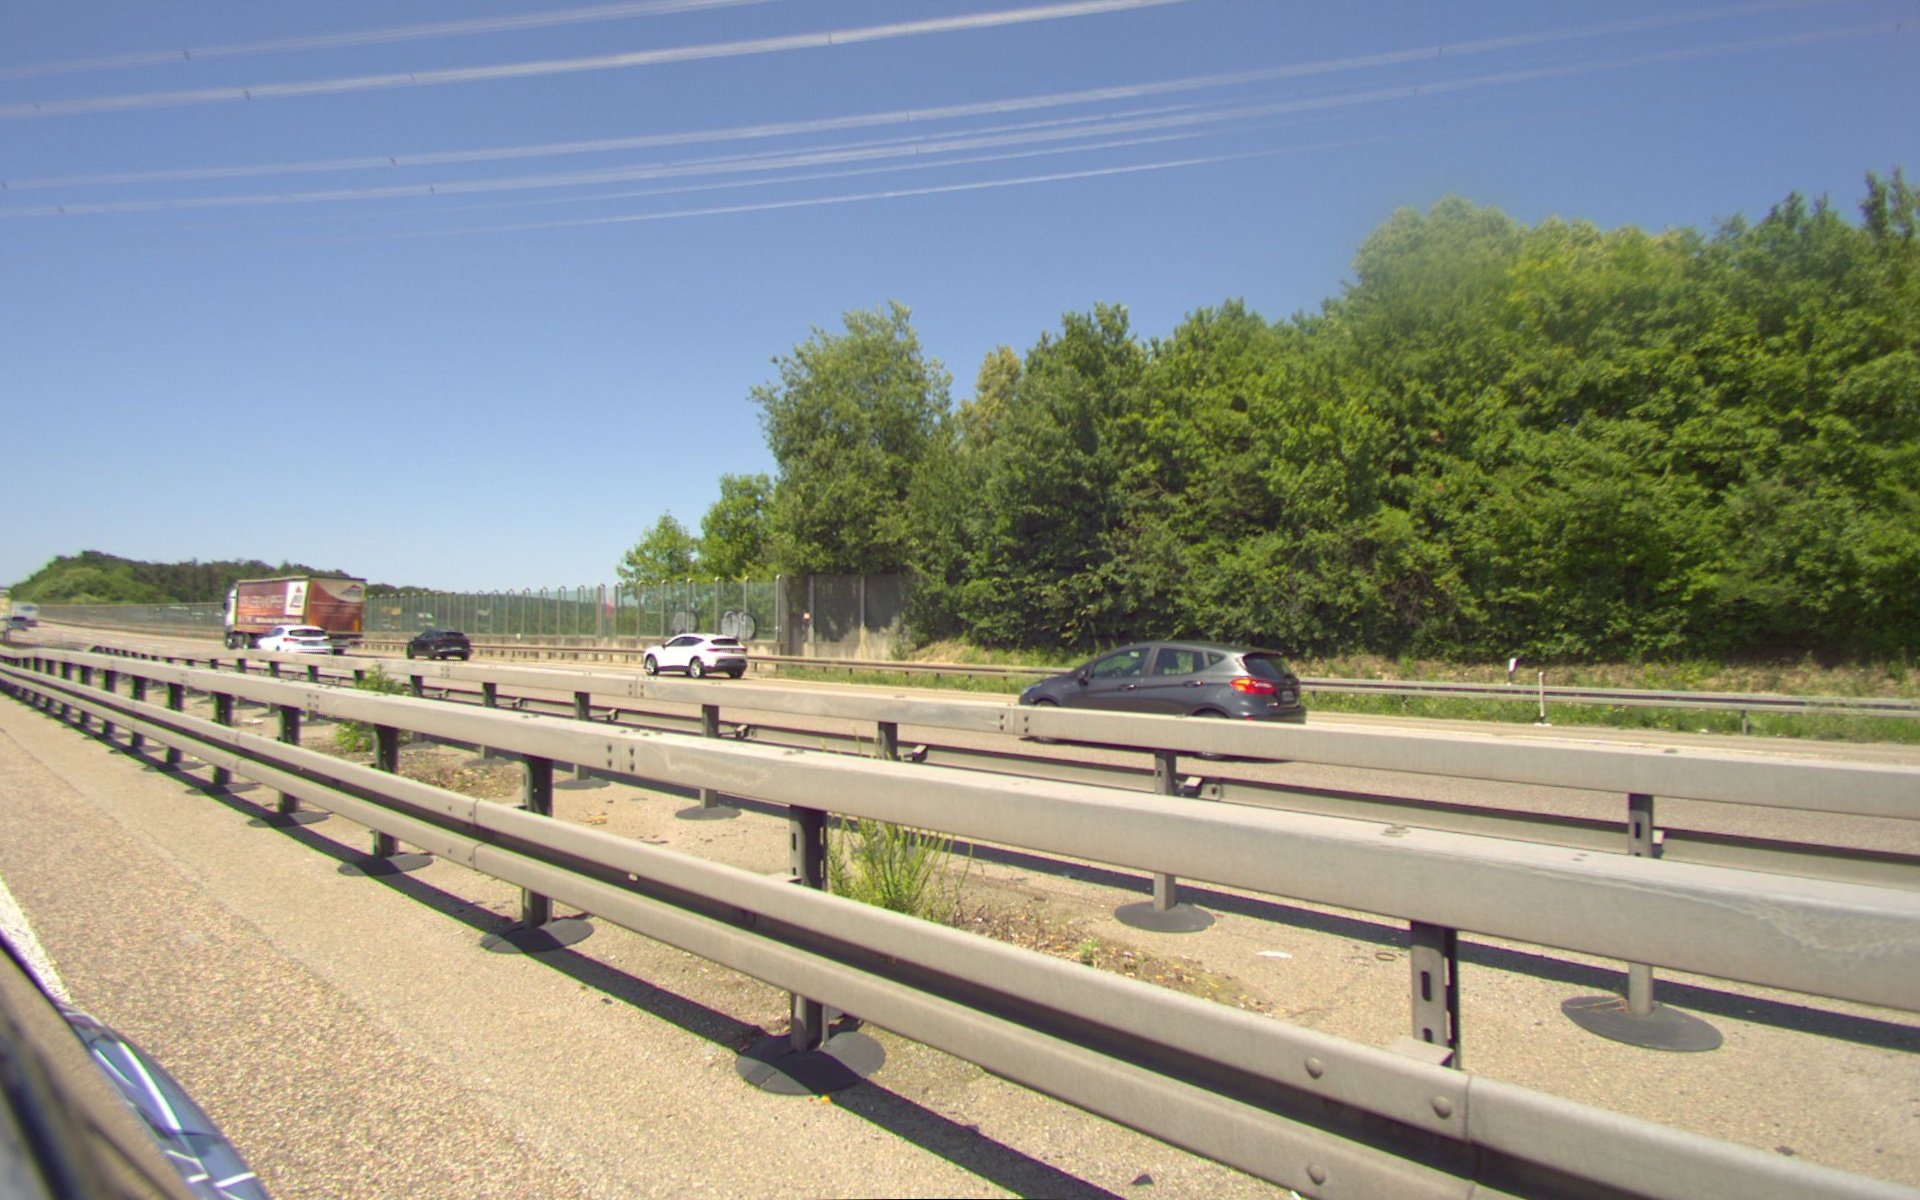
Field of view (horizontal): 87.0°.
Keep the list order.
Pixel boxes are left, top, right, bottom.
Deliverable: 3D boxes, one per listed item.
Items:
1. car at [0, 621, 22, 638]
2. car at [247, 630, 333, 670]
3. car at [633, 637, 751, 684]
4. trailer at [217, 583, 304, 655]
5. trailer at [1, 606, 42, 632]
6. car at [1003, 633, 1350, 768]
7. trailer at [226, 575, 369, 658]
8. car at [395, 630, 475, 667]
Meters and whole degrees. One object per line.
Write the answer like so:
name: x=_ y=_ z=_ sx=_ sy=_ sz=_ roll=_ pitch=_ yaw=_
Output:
car: x=-118.597 y=3.662 z=126.294 sx=4.897 sy=1.955 sz=1.972 roll=-1 pitch=0 yaw=43
car: x=-26.655 y=1.941 z=40.204 sx=4.303 sy=1.478 sz=1.831 roll=-1 pitch=-2 yaw=42
car: x=-9.190 y=2.024 z=34.571 sx=4.341 sy=1.467 sz=1.668 roll=-1 pitch=-3 yaw=39
trailer: x=-40.780 y=1.174 z=58.943 sx=6.130 sy=4.007 sz=2.727 roll=-2 pitch=-4 yaw=42
trailer: x=-157.815 y=3.204 z=170.132 sx=14.040 sy=4.267 sz=3.945 roll=0 pitch=-2 yaw=43
car: x=2.770 y=1.203 z=13.460 sx=4.143 sy=1.457 sz=1.856 roll=-1 pitch=-2 yaw=41
trailer: x=-36.011 y=1.018 z=54.597 sx=14.677 sy=4.007 sz=2.733 roll=-2 pitch=-4 yaw=42
car: x=-26.194 y=2.377 z=50.399 sx=5.277 sy=1.588 sz=1.971 roll=0 pitch=0 yaw=44
